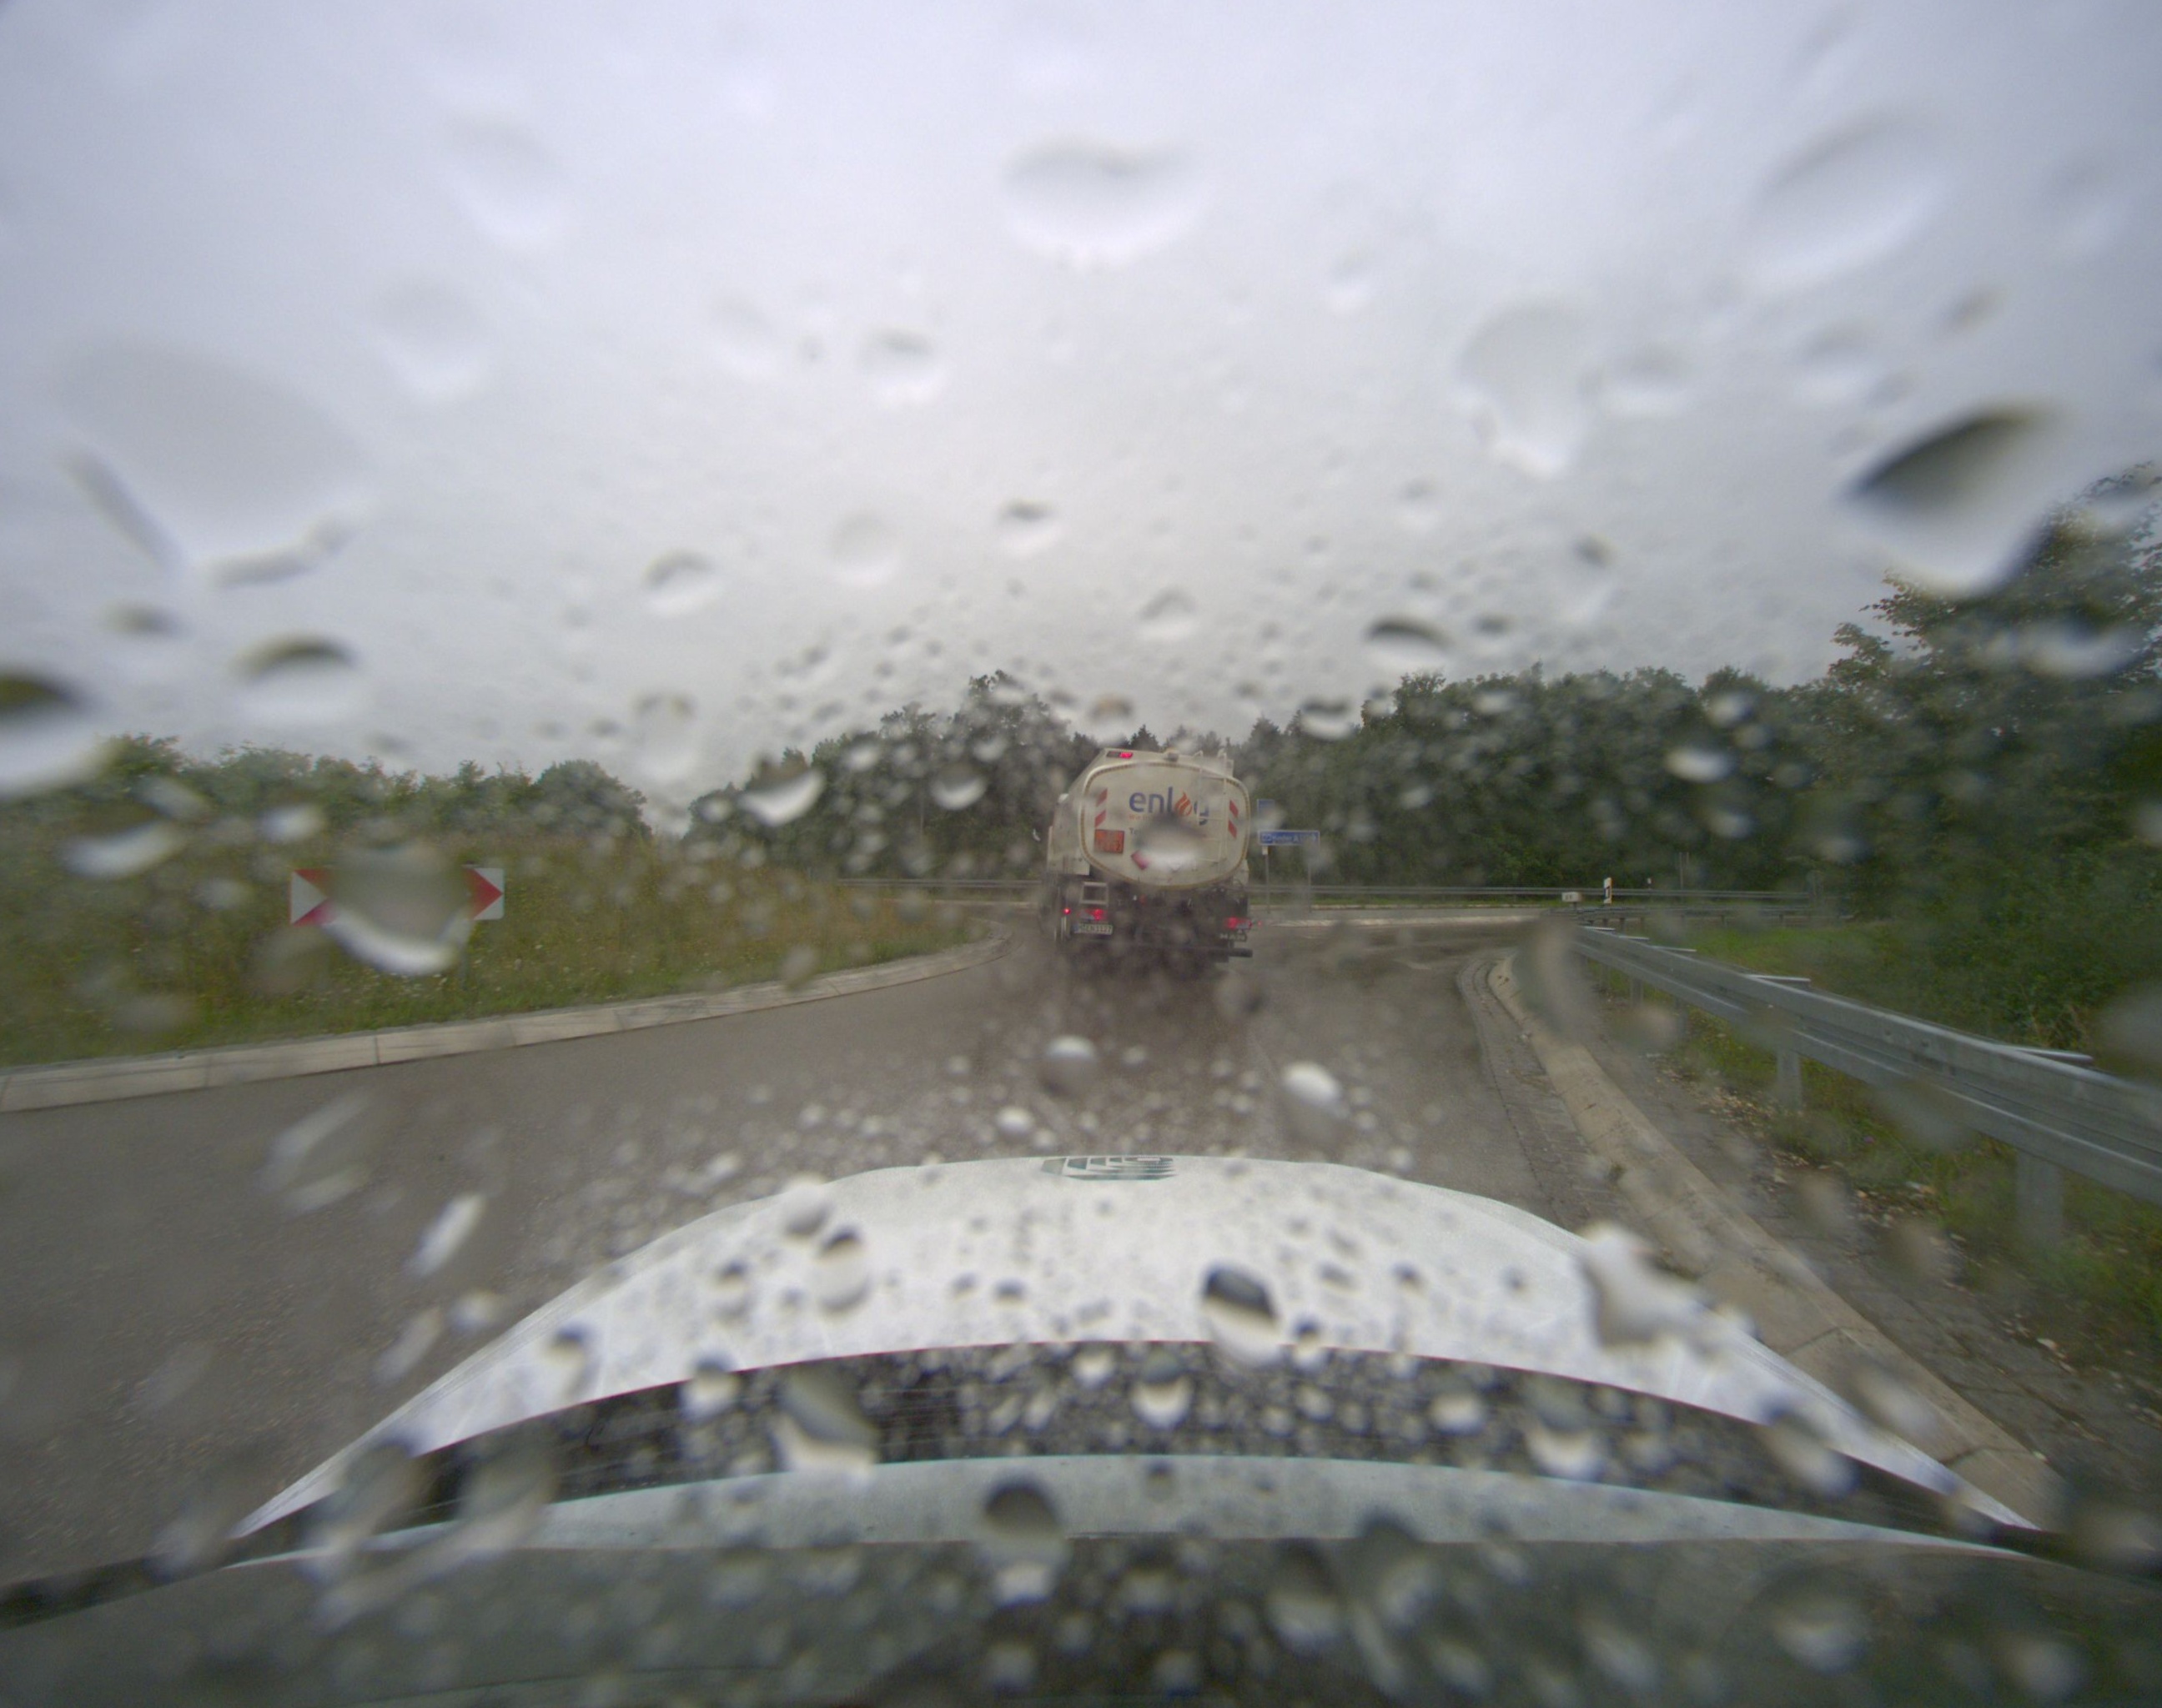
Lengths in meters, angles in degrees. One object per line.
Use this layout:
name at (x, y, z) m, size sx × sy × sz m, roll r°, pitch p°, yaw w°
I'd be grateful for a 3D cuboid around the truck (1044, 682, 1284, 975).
truck at (0.927, -0.262, 15.235) m, size 3.033 × 3.852 × 8.809 m, roll 1°, pitch -1°, yaw -4°
